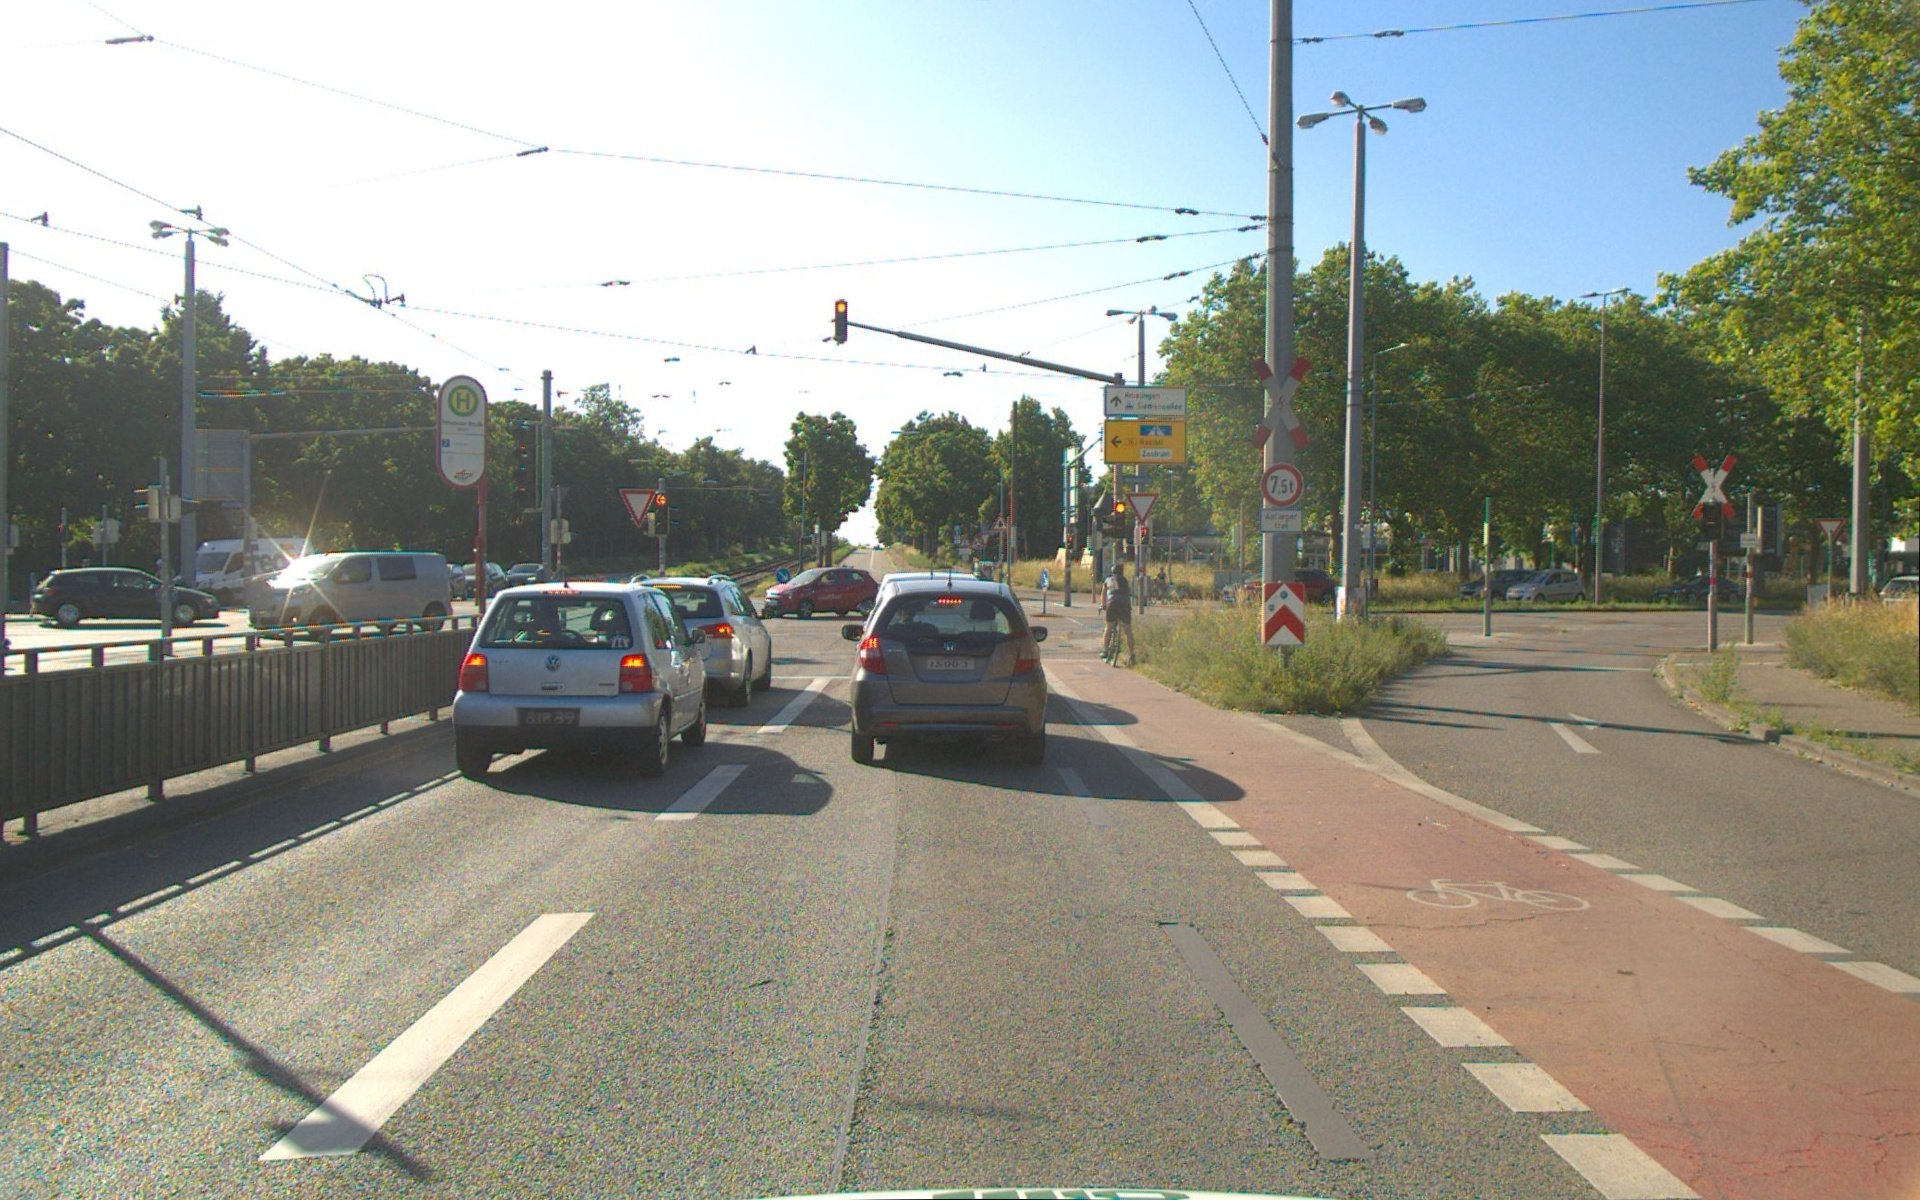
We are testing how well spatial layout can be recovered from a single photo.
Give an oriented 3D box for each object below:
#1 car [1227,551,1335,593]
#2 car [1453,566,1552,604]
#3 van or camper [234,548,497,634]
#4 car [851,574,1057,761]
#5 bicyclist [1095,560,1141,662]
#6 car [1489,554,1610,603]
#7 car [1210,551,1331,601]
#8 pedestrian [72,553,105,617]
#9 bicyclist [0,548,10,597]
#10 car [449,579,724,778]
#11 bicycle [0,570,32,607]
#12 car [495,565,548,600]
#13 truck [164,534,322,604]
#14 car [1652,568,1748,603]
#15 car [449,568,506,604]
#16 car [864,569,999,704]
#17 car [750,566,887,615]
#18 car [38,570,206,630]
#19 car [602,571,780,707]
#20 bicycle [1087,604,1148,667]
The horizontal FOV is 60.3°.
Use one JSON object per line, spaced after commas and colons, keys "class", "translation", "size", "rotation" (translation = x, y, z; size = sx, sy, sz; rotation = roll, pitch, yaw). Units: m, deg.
{"class": "car", "translation": [12.424, -1.097, 63.936], "size": [3.934, 1.557, 1.594], "rotation": [-1, 1, -24]}
{"class": "car", "translation": [24.332, -0.670, 74.137], "size": [3.931, 1.606, 1.868], "rotation": [2, 0, -22]}
{"class": "van or camper", "translation": [-13.854, -0.237, 39.009], "size": [1.957, 1.860, 5.974], "rotation": [0, 1, 31]}
{"class": "car", "translation": [-0.132, 0.517, 15.015], "size": [1.635, 1.487, 3.584], "rotation": [0, 1, -3]}
{"class": "bicyclist", "translation": [2.748, 0.187, 28.853], "size": [0.652, 1.746, 0.948], "rotation": [1, 0, -1]}
{"class": "car", "translation": [25.125, -0.918, 70.484], "size": [4.823, 2.049, 1.986], "rotation": [0, 1, -24]}
{"class": "car", "translation": [12.822, -0.968, 68.291], "size": [4.625, 1.912, 1.986], "rotation": [2, 0, -24]}
{"class": "pedestrian", "translation": [-27.972, -0.478, 53.087], "size": [0.735, 2.049, 0.789], "rotation": [0, 1, -13]}
{"class": "bicyclist", "translation": [-33.627, -0.951, 57.394], "size": [0.991, 1.676, 0.813], "rotation": [0, 1, -19]}
{"class": "car", "translation": [-2.971, 0.562, 13.787], "size": [1.586, 1.442, 3.350], "rotation": [0, 0, -1]}
{"class": "bicycle", "translation": [-33.623, -0.417, 57.394], "size": [2.360, 1.285, 0.813], "rotation": [0, 1, -19]}
{"class": "car", "translation": [-21.551, -0.879, 81.491], "size": [1.956, 1.632, 4.747], "rotation": [1, 1, -8]}
{"class": "truck", "translation": [-28.123, -1.205, 65.247], "size": [1.951, 2.610, 6.829], "rotation": [0, 1, 14]}
{"class": "car", "translation": [35.446, -0.708, 79.201], "size": [4.449, 1.601, 1.681], "rotation": [-1, 1, -24]}
{"class": "car", "translation": [-21.339, -0.631, 73.277], "size": [1.797, 1.575, 4.278], "rotation": [0, 1, -7]}
{"class": "car", "translation": [-0.379, 0.405, 21.647], "size": [1.578, 1.589, 4.287], "rotation": [0, 1, -1]}
{"class": "car", "translation": [-4.285, -0.308, 50.344], "size": [3.977, 1.427, 1.587], "rotation": [-1, 1, -39]}
{"class": "car", "translation": [-20.508, -0.022, 40.537], "size": [3.624, 1.402, 1.513], "rotation": [0, 1, -29]}
{"class": "car", "translation": [-3.206, 0.425, 20.388], "size": [1.586, 1.482, 4.084], "rotation": [1, 0, -1]}
{"class": "bicycle", "translation": [2.735, 0.600, 28.934], "size": [0.707, 1.006, 2.875], "rotation": [2, 0, -1]}
